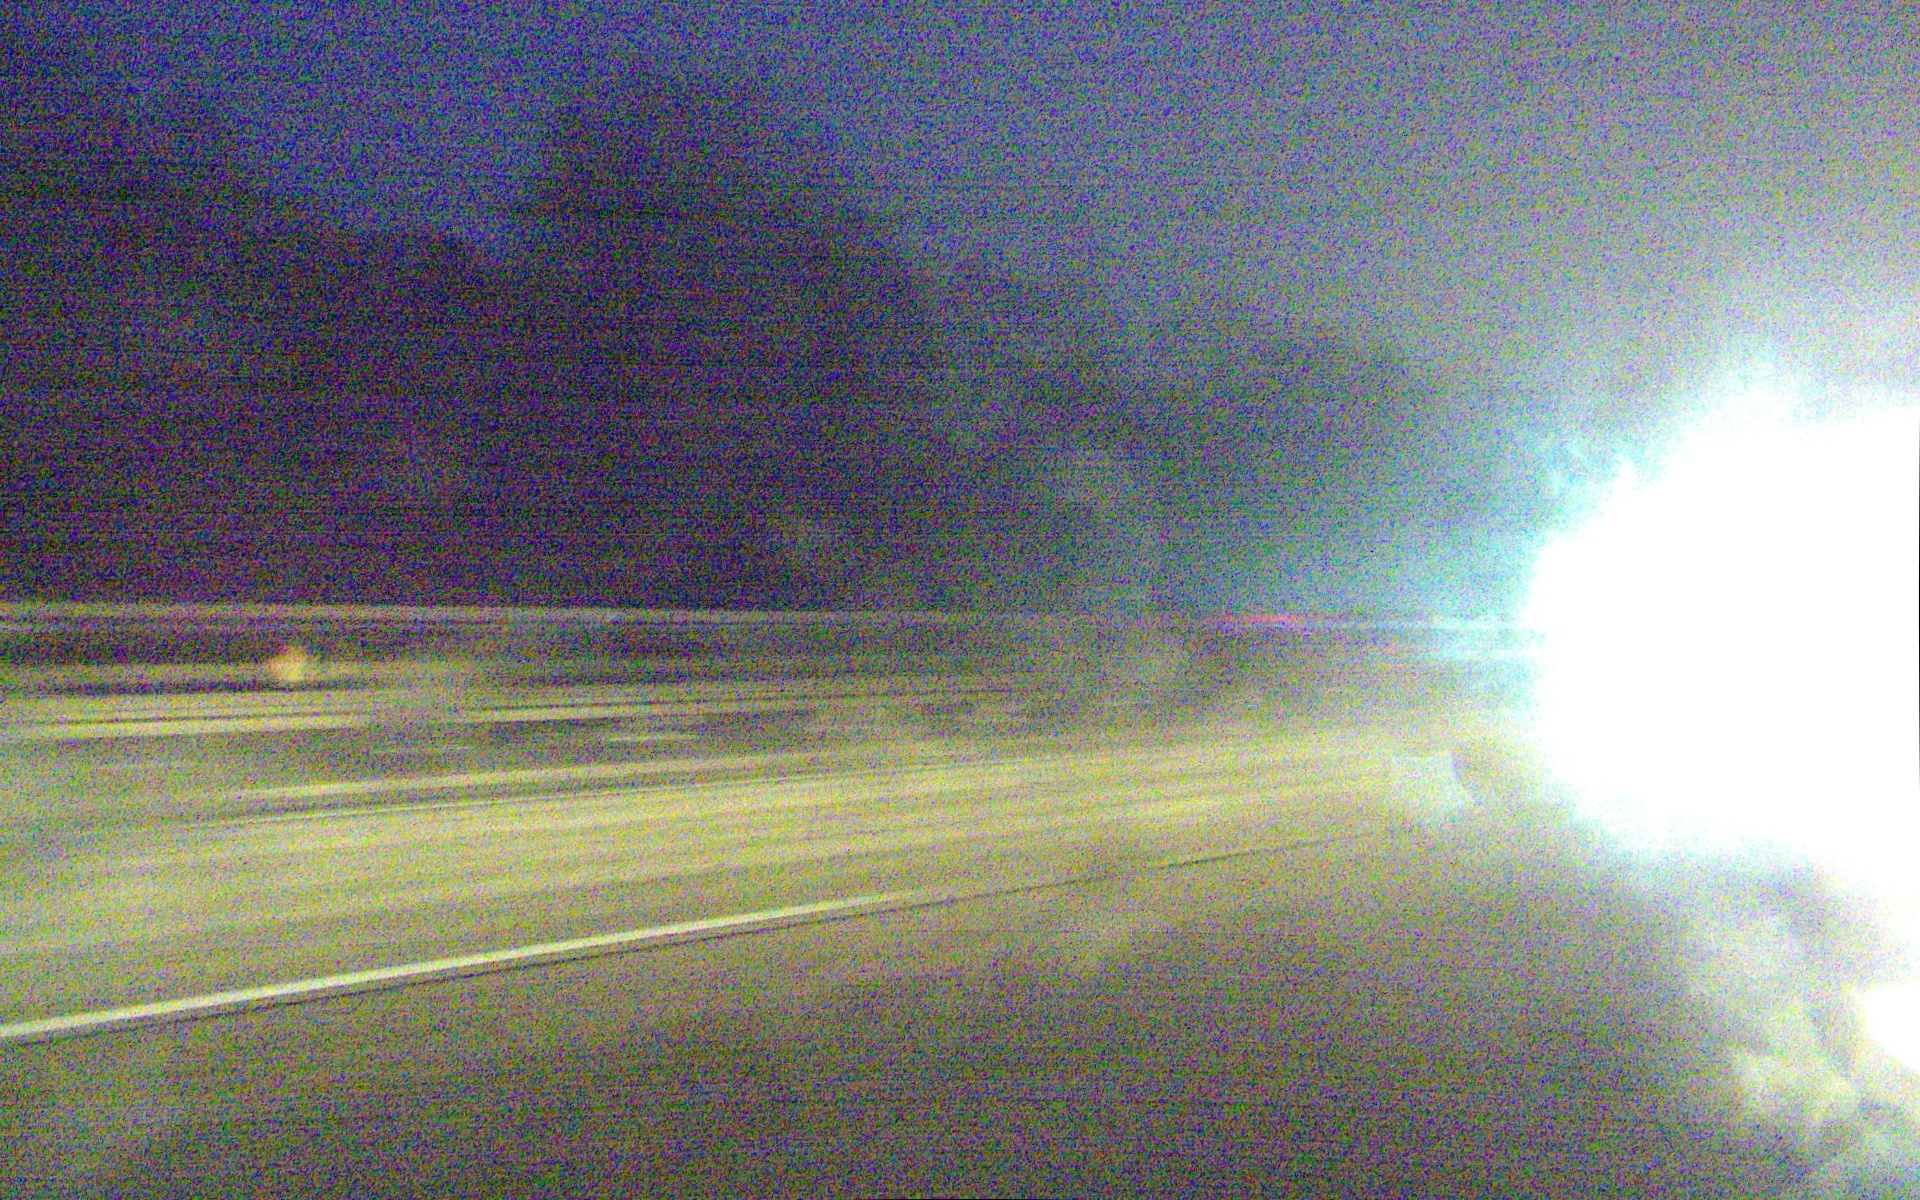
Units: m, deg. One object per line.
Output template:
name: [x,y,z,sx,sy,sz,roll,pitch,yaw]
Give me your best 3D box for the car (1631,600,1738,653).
car: [30.205,1.121,41.833,4.758,2.040,1.982,2,0,-33]
